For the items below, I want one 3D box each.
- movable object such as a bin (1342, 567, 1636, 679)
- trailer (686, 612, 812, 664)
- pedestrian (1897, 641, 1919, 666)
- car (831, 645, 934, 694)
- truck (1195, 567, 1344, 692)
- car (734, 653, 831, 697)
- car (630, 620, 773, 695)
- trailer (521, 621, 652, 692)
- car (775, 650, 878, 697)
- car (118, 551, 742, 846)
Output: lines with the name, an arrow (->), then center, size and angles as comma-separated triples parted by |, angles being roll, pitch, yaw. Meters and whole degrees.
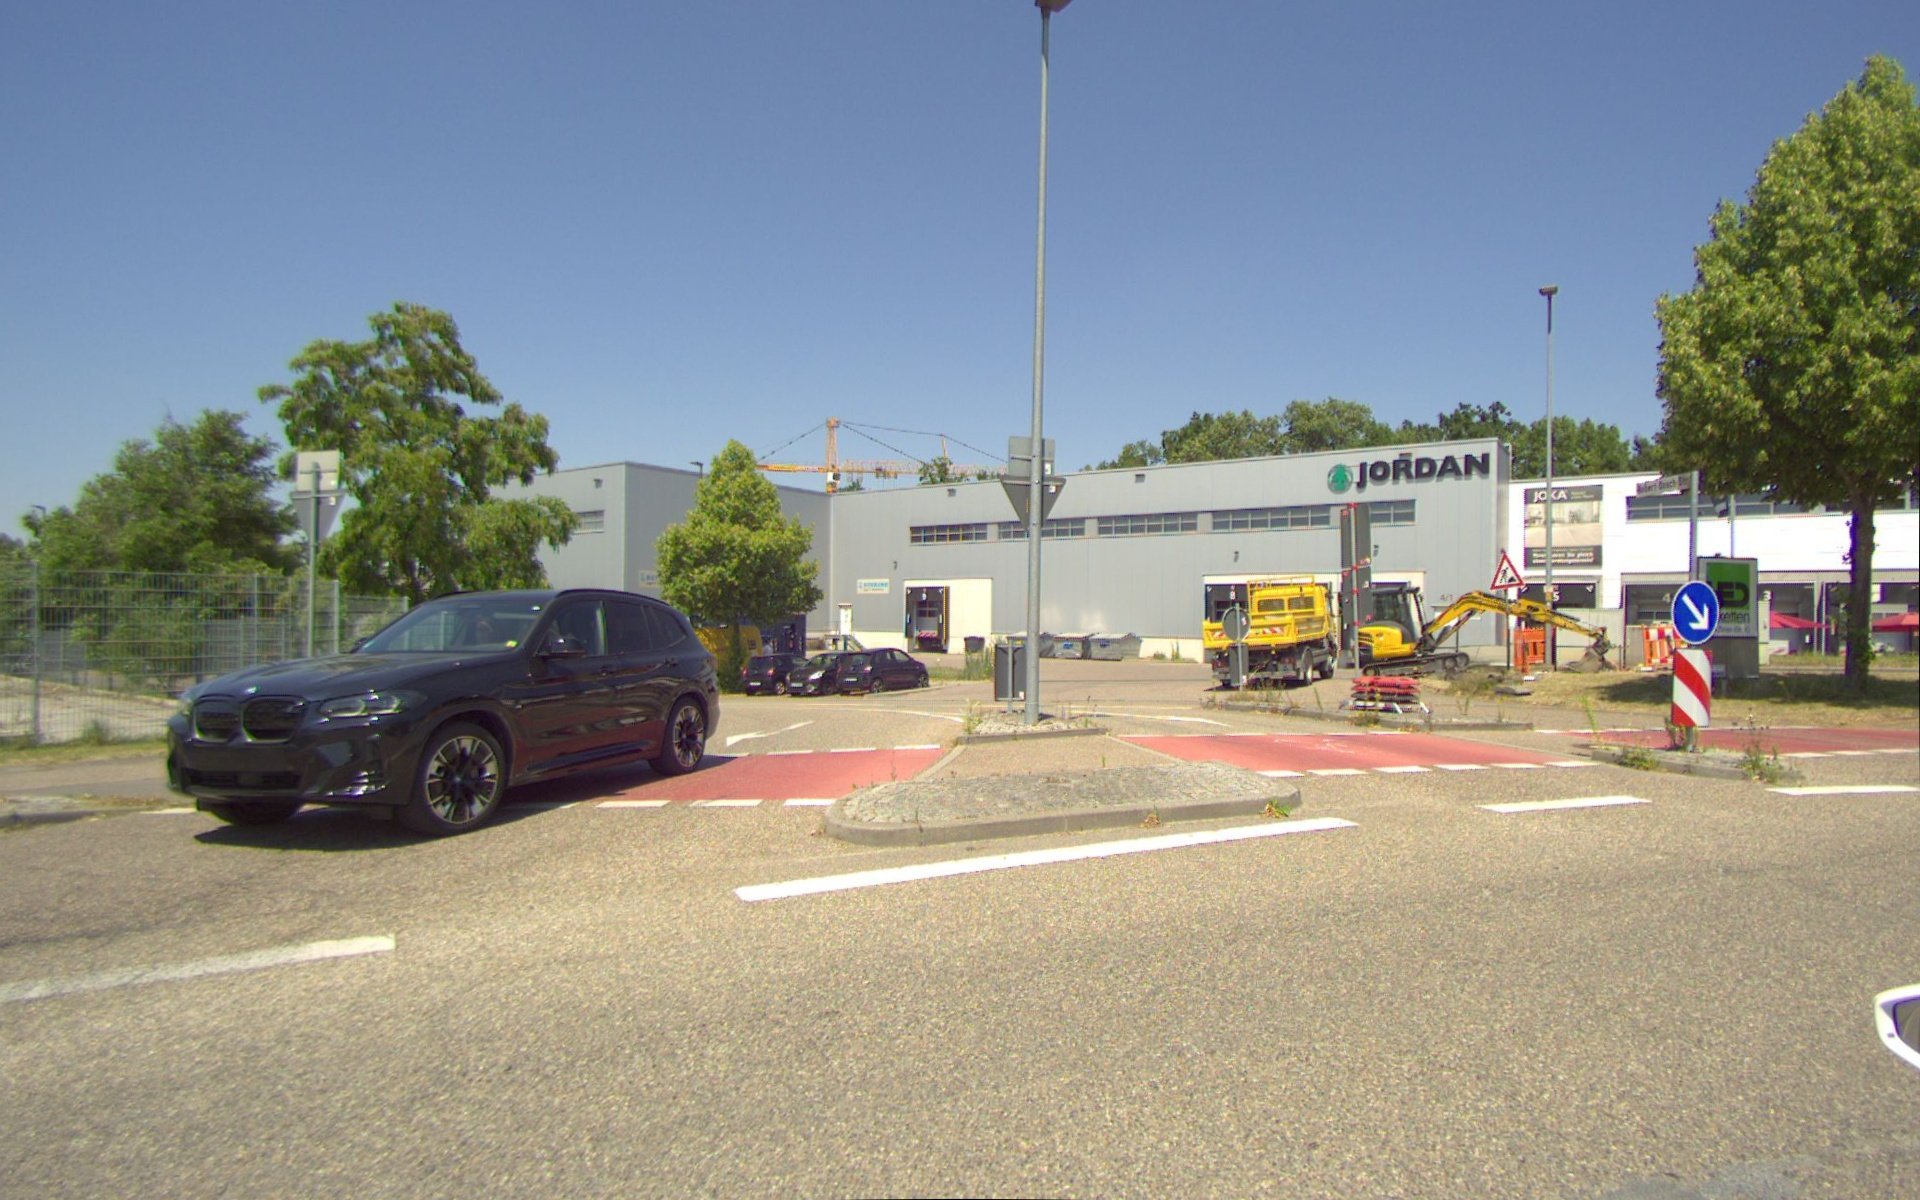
movable object such as a bin -> 13.670, 0.745, 26.339 | 6.481, 2.614, 1.991 | -4, -4, 40
trailer -> -11.812, 2.091, 55.815 | 7.295, 2.452, 2.658 | 2, -1, 37
pedestrian -> 27.457, 1.528, 28.752 | 0.403, 0.704, 0.859 | 1, -2, -31
car -> -2.632, 2.373, 34.950 | 1.600, 1.482, 3.660 | -3, -1, 35
truck -> 9.110, 0.781, 29.085 | 2.551, 3.177, 6.410 | -3, -1, 31
car -> -6.606, 2.781, 37.668 | 1.600, 1.498, 3.604 | -2, -3, 33
car -> -10.323, 2.214, 40.630 | 1.966, 2.769, 5.782 | -1, -1, 33
trailer -> -16.568, 2.472, 44.511 | 5.424, 2.895, 2.659 | -2, -1, 32
car -> -4.718, 2.605, 35.941 | 1.564, 1.527, 3.773 | -2, -3, 33
car -> -3.664, 0.709, 8.110 | 1.833, 1.655, 4.603 | -3, -3, 14
